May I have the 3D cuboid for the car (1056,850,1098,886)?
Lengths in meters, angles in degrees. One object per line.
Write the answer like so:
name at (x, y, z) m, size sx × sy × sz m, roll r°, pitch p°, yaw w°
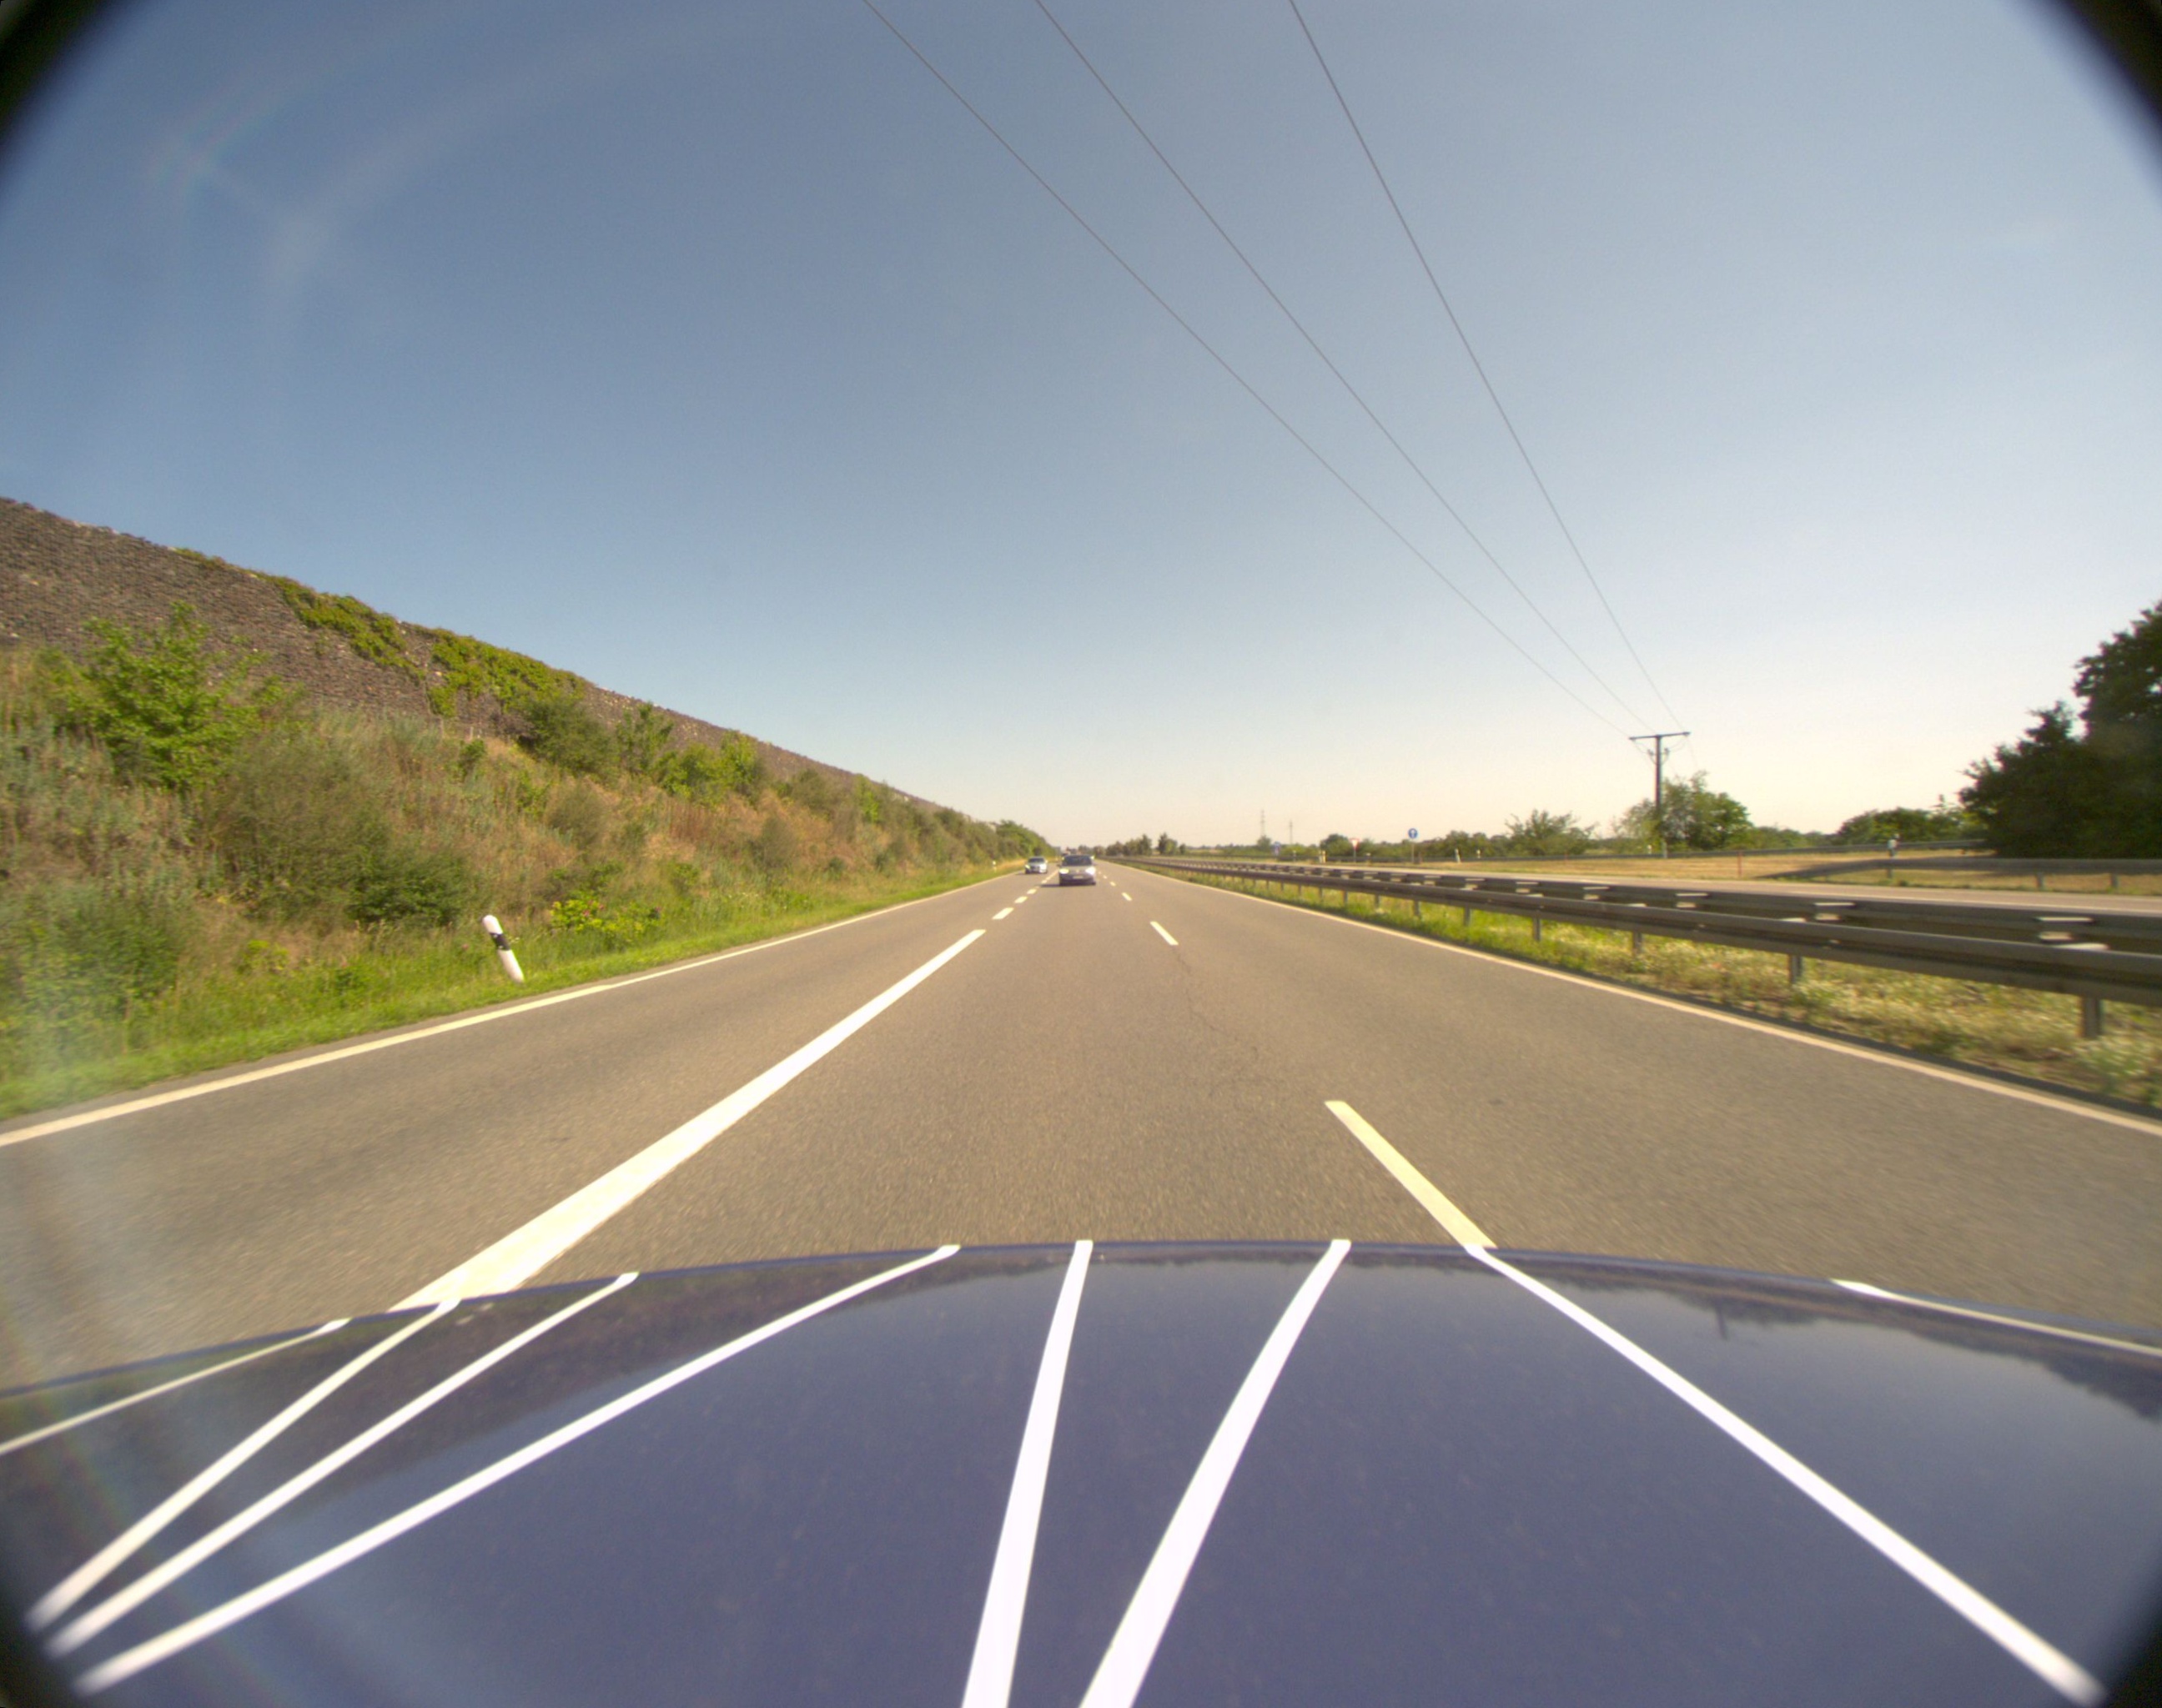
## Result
car at (-0.153, 0.650, 38.151) m, size 1.854 × 1.635 × 4.000 m, roll -2°, pitch 0°, yaw 2°

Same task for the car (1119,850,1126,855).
car at (12.938, -0.467, 236.445) m, size 1.704 × 1.476 × 4.619 m, roll -4°, pitch 0°, yaw -1°

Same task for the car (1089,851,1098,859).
car at (2.945, 0.256, 175.575) m, size 1.790 × 1.659 × 3.999 m, roll -2°, pitch 1°, yaw -2°

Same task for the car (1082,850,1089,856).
car at (1.326, -0.248, 235.576) m, size 1.854 × 1.602 × 4.000 m, roll -2°, pitch 1°, yaw 2°

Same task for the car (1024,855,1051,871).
car at (-3.718, 0.769, 65.732) m, size 1.854 × 1.212 × 4.000 m, roll -3°, pitch 1°, yaw 2°

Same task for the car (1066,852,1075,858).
car at (-2.158, 0.211, 157.004) m, size 1.790 × 1.212 × 3.999 m, roll -2°, pitch 1°, yaw -2°
